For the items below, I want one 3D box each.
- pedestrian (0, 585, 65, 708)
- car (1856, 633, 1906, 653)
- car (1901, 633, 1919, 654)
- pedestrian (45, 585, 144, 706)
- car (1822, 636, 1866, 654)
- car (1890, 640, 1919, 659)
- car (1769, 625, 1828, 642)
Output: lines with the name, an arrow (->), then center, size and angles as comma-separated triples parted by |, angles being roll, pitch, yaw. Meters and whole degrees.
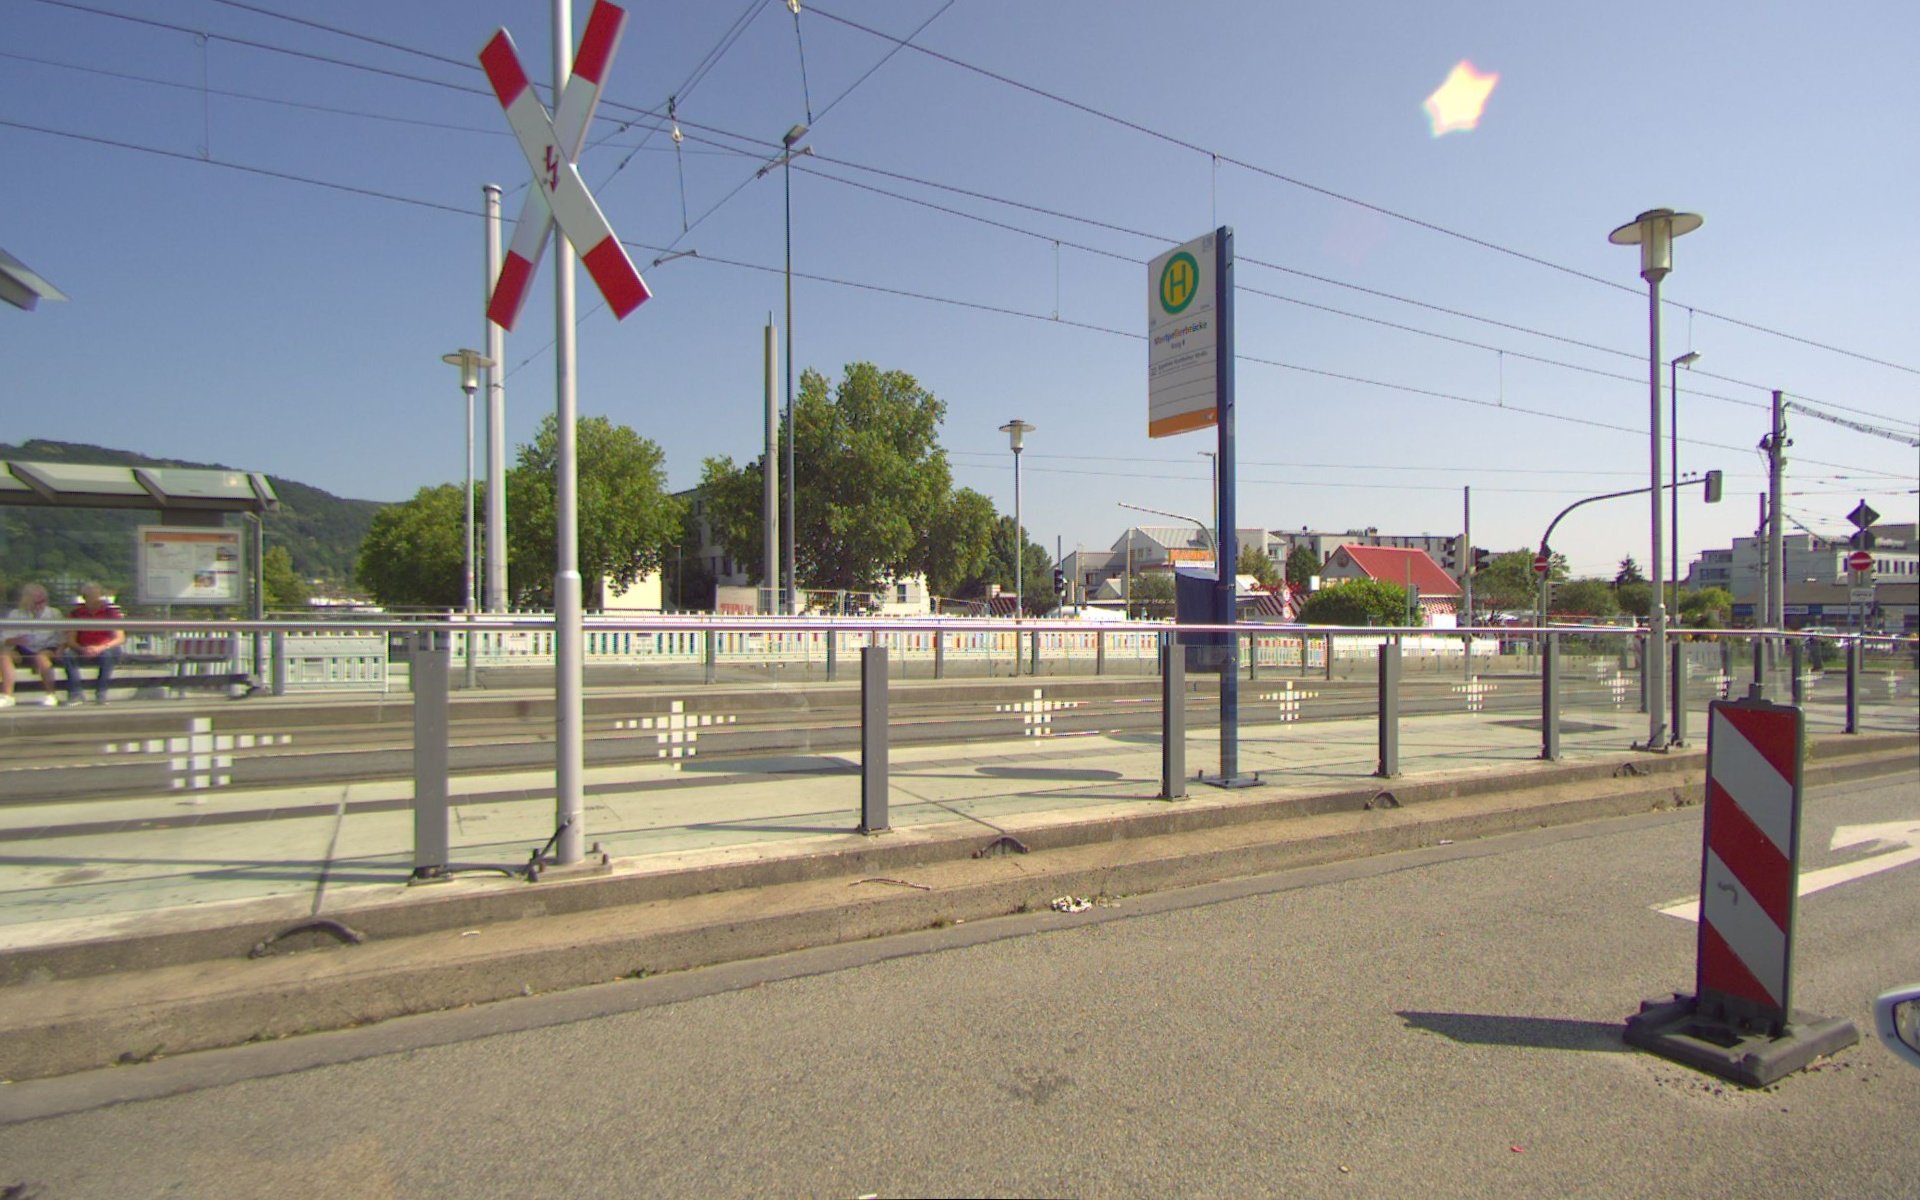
pedestrian -> -10.099, 0.491, 10.877 | 0.447, 1.291, 0.645 | 0, 0, -28
car -> 72.287, 3.371, 78.801 | 3.953, 1.558, 1.769 | 1, -2, -30
car -> 72.624, 3.247, 75.466 | 3.953, 1.558, 1.769 | 1, -2, -30
pedestrian -> -9.587, 0.486, 11.156 | 0.688, 1.291, 0.645 | 0, 0, -28
car -> 80.026, 4.051, 90.934 | 3.953, 1.558, 1.769 | 1, -2, -30
car -> 82.723, 4.263, 87.208 | 3.953, 1.558, 1.769 | 1, -2, -30
car -> 80.632, 3.253, 96.675 | 3.920, 1.558, 1.784 | -1, -2, 18
